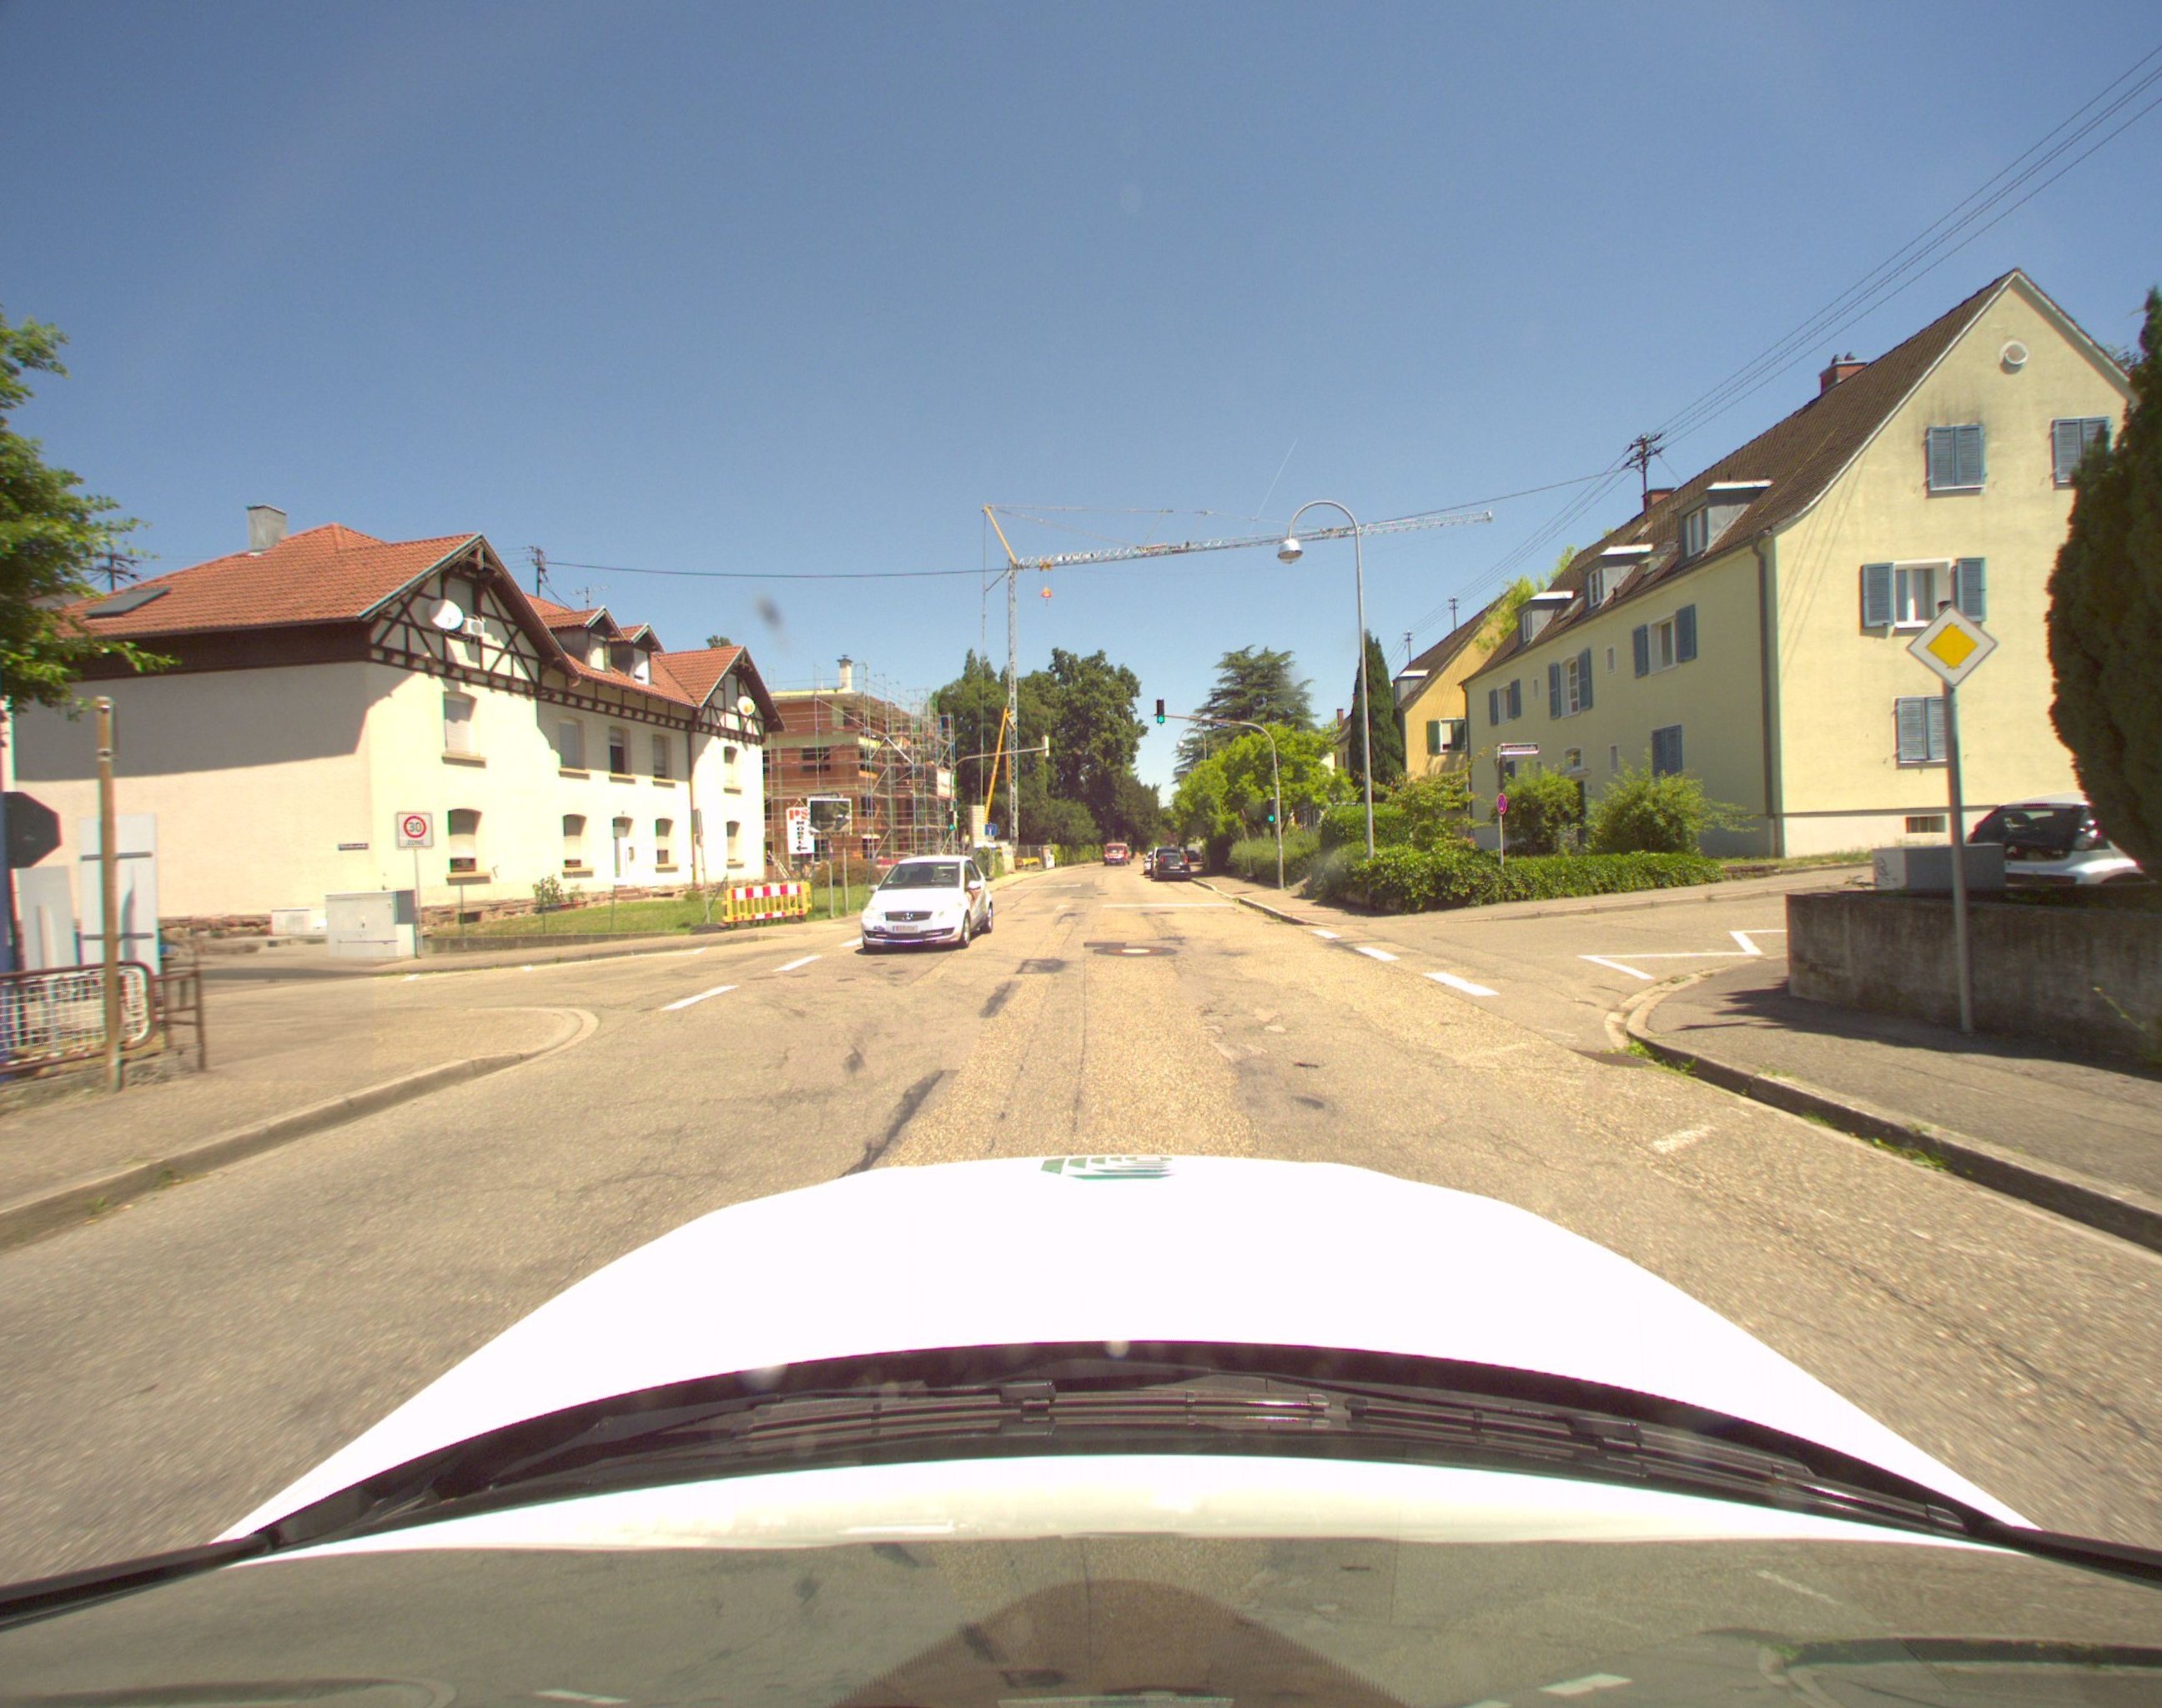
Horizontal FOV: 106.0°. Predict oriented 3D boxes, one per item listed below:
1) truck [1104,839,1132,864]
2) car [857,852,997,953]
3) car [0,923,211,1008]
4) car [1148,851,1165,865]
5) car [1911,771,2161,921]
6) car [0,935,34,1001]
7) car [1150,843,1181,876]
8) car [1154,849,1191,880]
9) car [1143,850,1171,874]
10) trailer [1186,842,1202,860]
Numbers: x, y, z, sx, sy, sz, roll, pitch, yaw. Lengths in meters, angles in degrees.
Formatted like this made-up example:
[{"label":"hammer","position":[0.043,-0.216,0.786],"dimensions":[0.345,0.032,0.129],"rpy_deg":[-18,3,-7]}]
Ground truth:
[{"label":"truck","position":[3.740,-0.246,81.250],"dimensions":[2.115,2.338,6.450],"rpy_deg":[-1,0,9]},{"label":"car","position":[-2.710,0.789,15.188],"dimensions":[1.646,1.562,3.887],"rpy_deg":[-3,0,2]},{"label":"car","position":[-21.744,2.422,17.720],"dimensions":[3.964,1.434,1.804],"rpy_deg":[-4,0,8]},{"label":"car","position":[8.216,0.446,88.369],"dimensions":[1.785,1.510,4.008],"rpy_deg":[0,0,7]},{"label":"car","position":[12.548,-0.185,9.697],"dimensions":[3.388,1.452,1.616],"rpy_deg":[-7,0,6]},{"label":"car","position":[-26.630,2.765,18.426],"dimensions":[3.964,1.434,1.804],"rpy_deg":[-4,0,8]},{"label":"car","position":[4.783,0.294,46.615],"dimensions":[1.654,1.803,4.208],"rpy_deg":[1,0,5]},{"label":"car","position":[4.668,0.507,41.932],"dimensions":[1.622,1.463,4.019],"rpy_deg":[1,0,3]},{"label":"car","position":[4.884,0.489,51.999],"dimensions":[1.653,1.435,4.136],"rpy_deg":[0,0,7]},{"label":"trailer","position":[13.970,-0.384,100.747],"dimensions":[1.669,2.067,3.720],"rpy_deg":[0,1,11]}]
